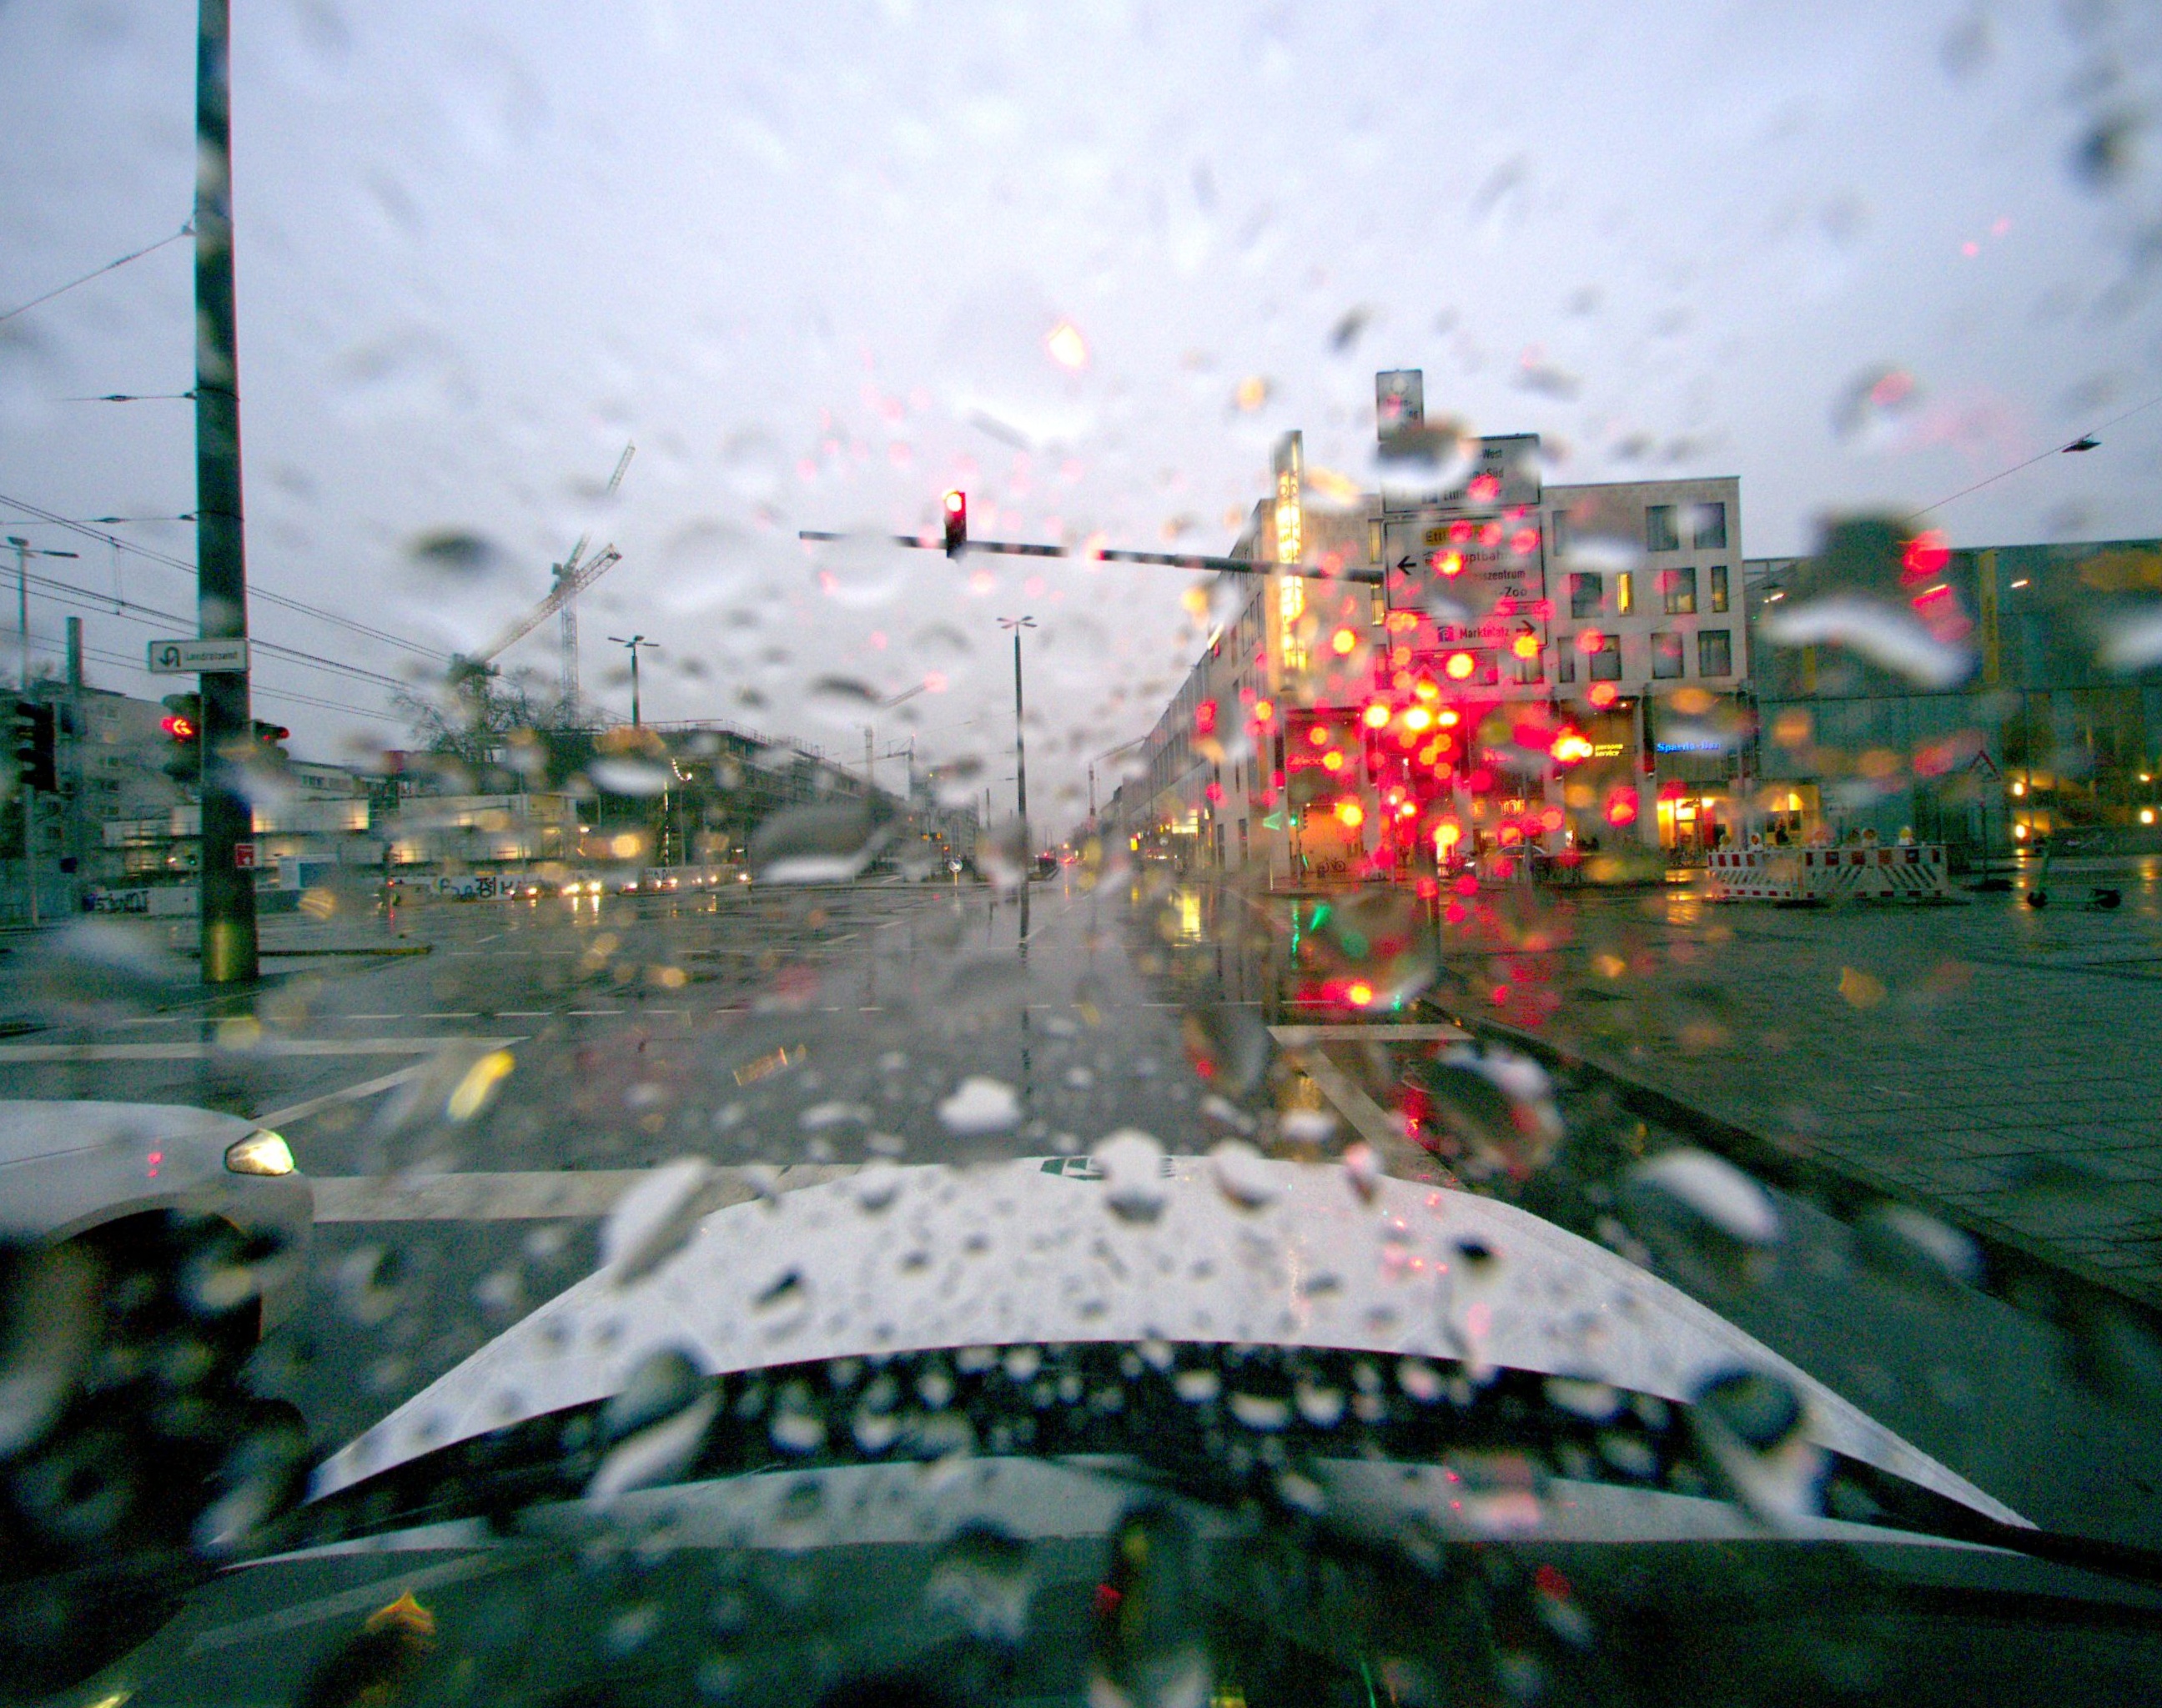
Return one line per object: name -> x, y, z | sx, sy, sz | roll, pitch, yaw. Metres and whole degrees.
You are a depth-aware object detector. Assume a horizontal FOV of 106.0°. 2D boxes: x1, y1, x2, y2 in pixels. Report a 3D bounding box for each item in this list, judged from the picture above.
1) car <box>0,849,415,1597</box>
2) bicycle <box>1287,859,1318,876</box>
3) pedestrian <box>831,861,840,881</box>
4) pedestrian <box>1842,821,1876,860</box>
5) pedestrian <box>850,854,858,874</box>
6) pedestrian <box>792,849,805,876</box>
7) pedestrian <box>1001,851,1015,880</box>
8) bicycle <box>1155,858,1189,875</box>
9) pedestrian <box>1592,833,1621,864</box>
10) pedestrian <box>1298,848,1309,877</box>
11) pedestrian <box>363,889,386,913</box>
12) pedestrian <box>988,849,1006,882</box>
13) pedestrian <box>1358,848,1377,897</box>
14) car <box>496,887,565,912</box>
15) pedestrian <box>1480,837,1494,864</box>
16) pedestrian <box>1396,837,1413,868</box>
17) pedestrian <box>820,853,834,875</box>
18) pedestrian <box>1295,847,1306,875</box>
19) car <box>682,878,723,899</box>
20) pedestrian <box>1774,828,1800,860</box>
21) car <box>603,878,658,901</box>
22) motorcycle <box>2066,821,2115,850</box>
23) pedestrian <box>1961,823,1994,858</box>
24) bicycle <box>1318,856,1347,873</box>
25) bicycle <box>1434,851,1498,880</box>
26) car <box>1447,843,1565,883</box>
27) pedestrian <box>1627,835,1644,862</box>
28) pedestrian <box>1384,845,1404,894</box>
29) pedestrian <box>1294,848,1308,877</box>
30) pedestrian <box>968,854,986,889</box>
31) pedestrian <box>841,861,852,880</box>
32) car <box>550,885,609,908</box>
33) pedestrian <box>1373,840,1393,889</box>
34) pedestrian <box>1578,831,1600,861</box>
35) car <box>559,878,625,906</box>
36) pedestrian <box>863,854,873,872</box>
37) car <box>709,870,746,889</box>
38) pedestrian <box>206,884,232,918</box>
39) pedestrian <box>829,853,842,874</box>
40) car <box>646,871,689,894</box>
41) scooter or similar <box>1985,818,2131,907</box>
car -> -3.205, 0.765, 0.332 | 2.010, 1.487, 4.561 | -2, 0, 1
bicycle -> 13.738, 0.848, 50.483 | 1.762, 1.070, 0.524 | 0, -1, -2
pedestrian -> -23.426, 1.593, 77.678 | 0.696, 1.881, 0.553 | 0, -1, 1
pedestrian -> 34.451, -0.584, 36.067 | 0.737, 1.684, 0.783 | 0, -1, 8
pedestrian -> -22.737, 1.011, 81.508 | 0.569, 1.968, 0.664 | 1, -1, -4
pedestrian -> -24.100, 0.716, 69.524 | 0.762, 2.323, 0.763 | 0, -2, 1
pedestrian -> -4.320, 0.686, 48.209 | 0.605, 1.686, 0.581 | -1, -1, 44
bicycle -> 6.885, 0.958, 61.567 | 2.434, 1.154, 0.674 | -2, -1, 0
pedestrian -> 28.482, -0.292, 44.126 | 1.026, 1.684, 0.824 | 0, -1, 1
pedestrian -> 13.630, 0.507, 49.953 | 0.596, 1.745, 0.526 | -1, -1, 10
pedestrian -> -41.680, 2.750, 48.060 | 0.724, 1.388, 0.726 | 0, -1, 7
pedestrian -> -4.842, 0.657, 46.826 | 0.826, 1.831, 0.778 | 0, -1, -29
pedestrian -> 14.297, 0.914, 40.643 | 0.712, 2.441, 0.758 | 0, -1, 1
car -> -38.488, 3.148, 57.071 | 1.986, 1.530, 4.001 | -2, 0, 2
pedestrian -> 26.438, -0.238, 53.050 | 0.728, 1.718, 0.743 | -3, -1, 29
pedestrian -> 21.325, -0.088, 53.666 | 0.841, 2.013, 0.700 | -2, 0, 10
pedestrian -> -23.868, 0.924, 76.582 | 0.939, 2.014, 1.094 | 0, -1, -1
pedestrian -> 13.128, 0.434, 48.673 | 0.480, 1.663, 0.460 | -3, -1, 32
car -> -35.168, 3.166, 75.832 | 1.988, 1.790, 3.998 | 0, -1, -1
pedestrian -> 37.484, -0.508, 43.249 | 0.737, 1.684, 0.783 | 0, -1, 8
car -> -34.276, 2.637, 62.075 | 2.074, 1.530, 4.603 | -2, 0, -8
motorcycle -> 48.248, -0.879, 38.927 | 1.482, 1.352, 0.595 | 0, 0, 5
pedestrian -> 43.974, -0.655, 39.963 | 0.737, 1.684, 0.783 | 0, -1, 8
bicycle -> 15.622, 0.655, 50.593 | 1.642, 1.070, 0.524 | 0, -1, -2
bicycle -> 19.254, 0.579, 40.787 | 2.705, 1.359, 0.957 | -2, -1, -2
car -> 17.974, 0.368, 34.601 | 3.970, 1.618, 2.001 | 0, -1, 3
pedestrian -> 30.843, -0.301, 45.328 | 0.583, 1.494, 0.520 | -1, -1, 4
pedestrian -> 15.817, 0.762, 41.196 | 0.691, 2.448, 0.792 | 0, -1, 1
pedestrian -> 13.183, 0.484, 48.797 | 0.634, 1.709, 0.574 | -2, -1, 1
pedestrian -> -6.099, 1.006, 47.642 | 0.776, 2.014, 0.732 | -1, -1, 44
pedestrian -> -22.742, 1.613, 79.052 | 0.762, 1.898, 0.763 | 0, -2, 1
car -> -38.993, 3.292, 63.442 | 1.986, 1.530, 4.001 | -2, 0, 2
pedestrian -> 15.068, 0.515, 40.634 | 0.687, 2.441, 0.758 | 0, -1, 1
pedestrian -> 29.373, -0.432, 47.097 | 0.890, 1.684, 0.528 | -2, -1, 1
car -> -33.727, 2.582, 56.261 | 1.986, 1.657, 4.001 | -2, 0, 2
pedestrian -> -24.102, 1.053, 92.234 | 0.941, 2.014, 1.092 | 0, -1, -6
car -> -35.240, 2.544, 81.395 | 1.988, 1.790, 3.998 | 0, -1, -1
pedestrian -> -52.654, 2.859, 49.740 | 0.781, 2.014, 0.748 | 0, -1, 6
pedestrian -> -23.805, 0.944, 79.080 | 0.939, 2.014, 1.093 | 0, -1, -1
car -> -34.823, 2.398, 68.625 | 1.862, 1.828, 3.993 | 0, -1, -5
scooter or similar -> 15.696, 0.121, 13.144 | 0.590, 1.352, 1.495 | 0, 0, 2
